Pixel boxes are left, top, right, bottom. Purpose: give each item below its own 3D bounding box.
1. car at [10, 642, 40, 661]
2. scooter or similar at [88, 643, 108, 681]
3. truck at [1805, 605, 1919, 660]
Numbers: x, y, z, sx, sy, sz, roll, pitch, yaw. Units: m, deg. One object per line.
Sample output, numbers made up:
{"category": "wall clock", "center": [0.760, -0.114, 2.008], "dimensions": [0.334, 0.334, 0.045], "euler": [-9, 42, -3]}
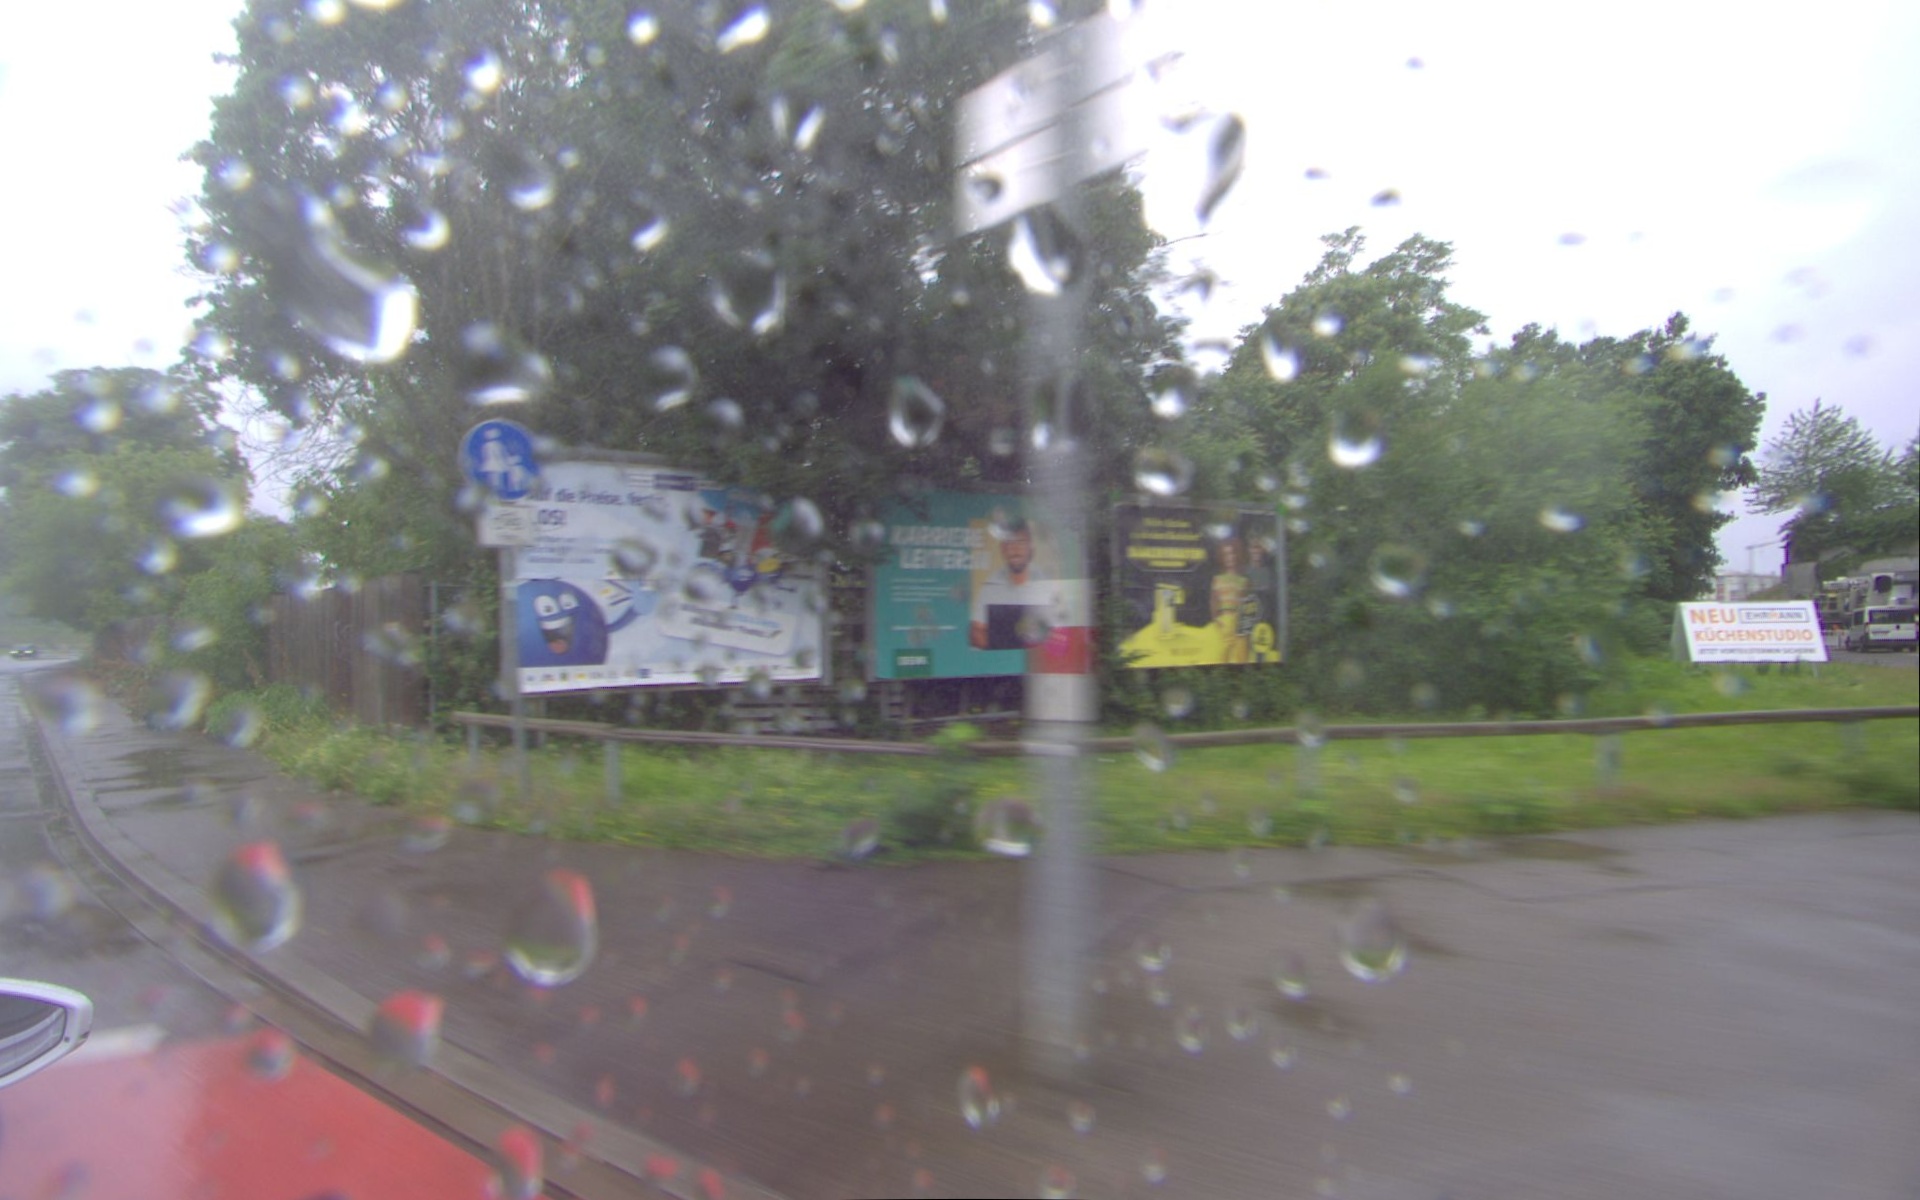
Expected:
{"category": "car", "center": [-94.488, 5.217, 101.180], "dimensions": [1.978, 1.794, 3.968], "euler": [0, -2, -40]}
{"category": "scooter or similar", "center": [-29.351, 2.113, 34.089], "dimensions": [0.487, 1.250, 1.358], "euler": [0, -2, -42]}
{"category": "truck", "center": [46.642, 1.718, 51.842], "dimensions": [2.312, 2.487, 10.736], "euler": [-4, -4, 29]}
